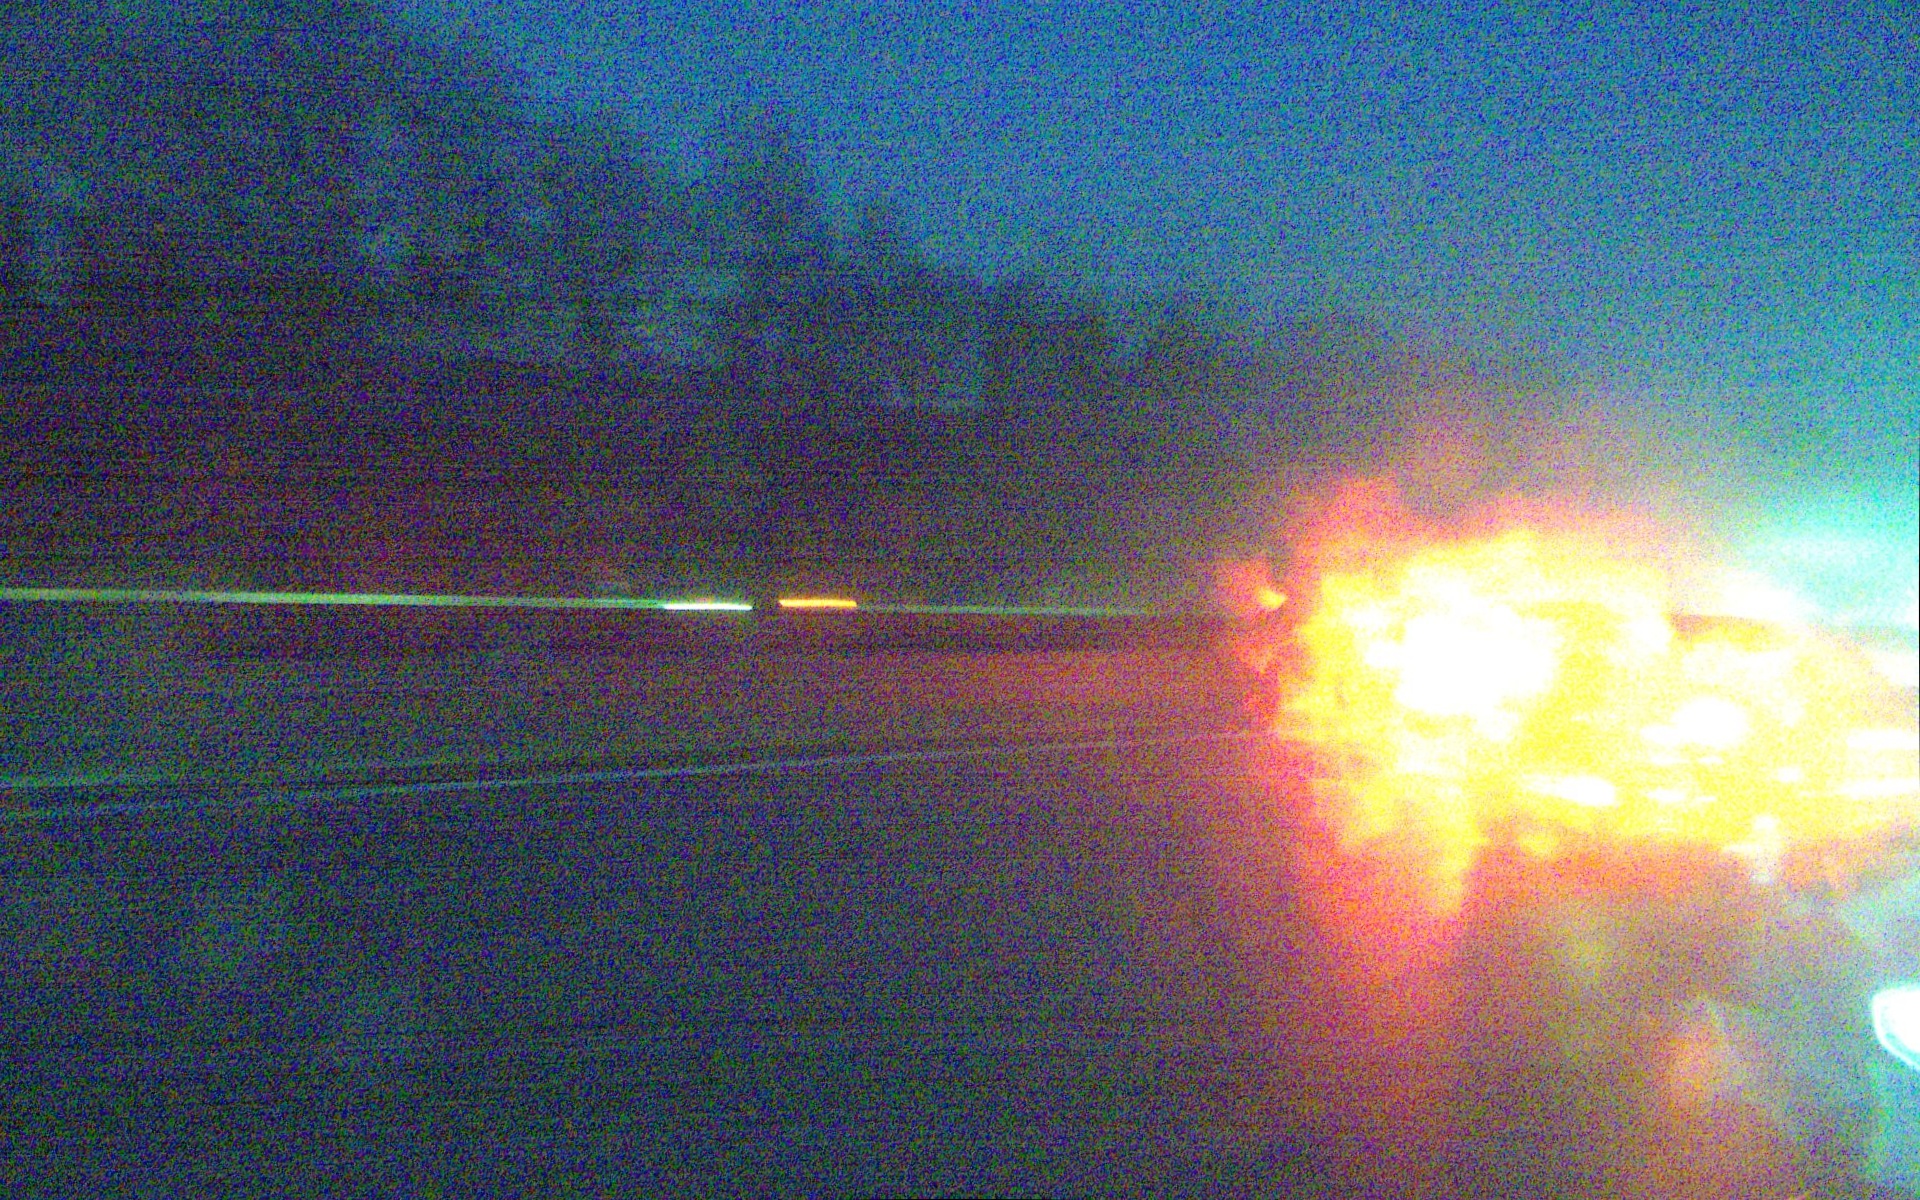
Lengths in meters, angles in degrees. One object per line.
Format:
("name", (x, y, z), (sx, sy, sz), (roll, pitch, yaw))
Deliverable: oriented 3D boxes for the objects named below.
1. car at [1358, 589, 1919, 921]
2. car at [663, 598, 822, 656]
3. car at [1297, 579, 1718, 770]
("car", (4.890, 0.812, 6.759), (4.183, 1.616, 1.907), (2, -1, -30))
("car", (-5.980, 0.745, 27.698), (3.954, 1.484, 1.699), (2, 0, -31))
("car", (6.352, 0.759, 11.531), (4.829, 1.801, 1.984), (2, 0, -30))
